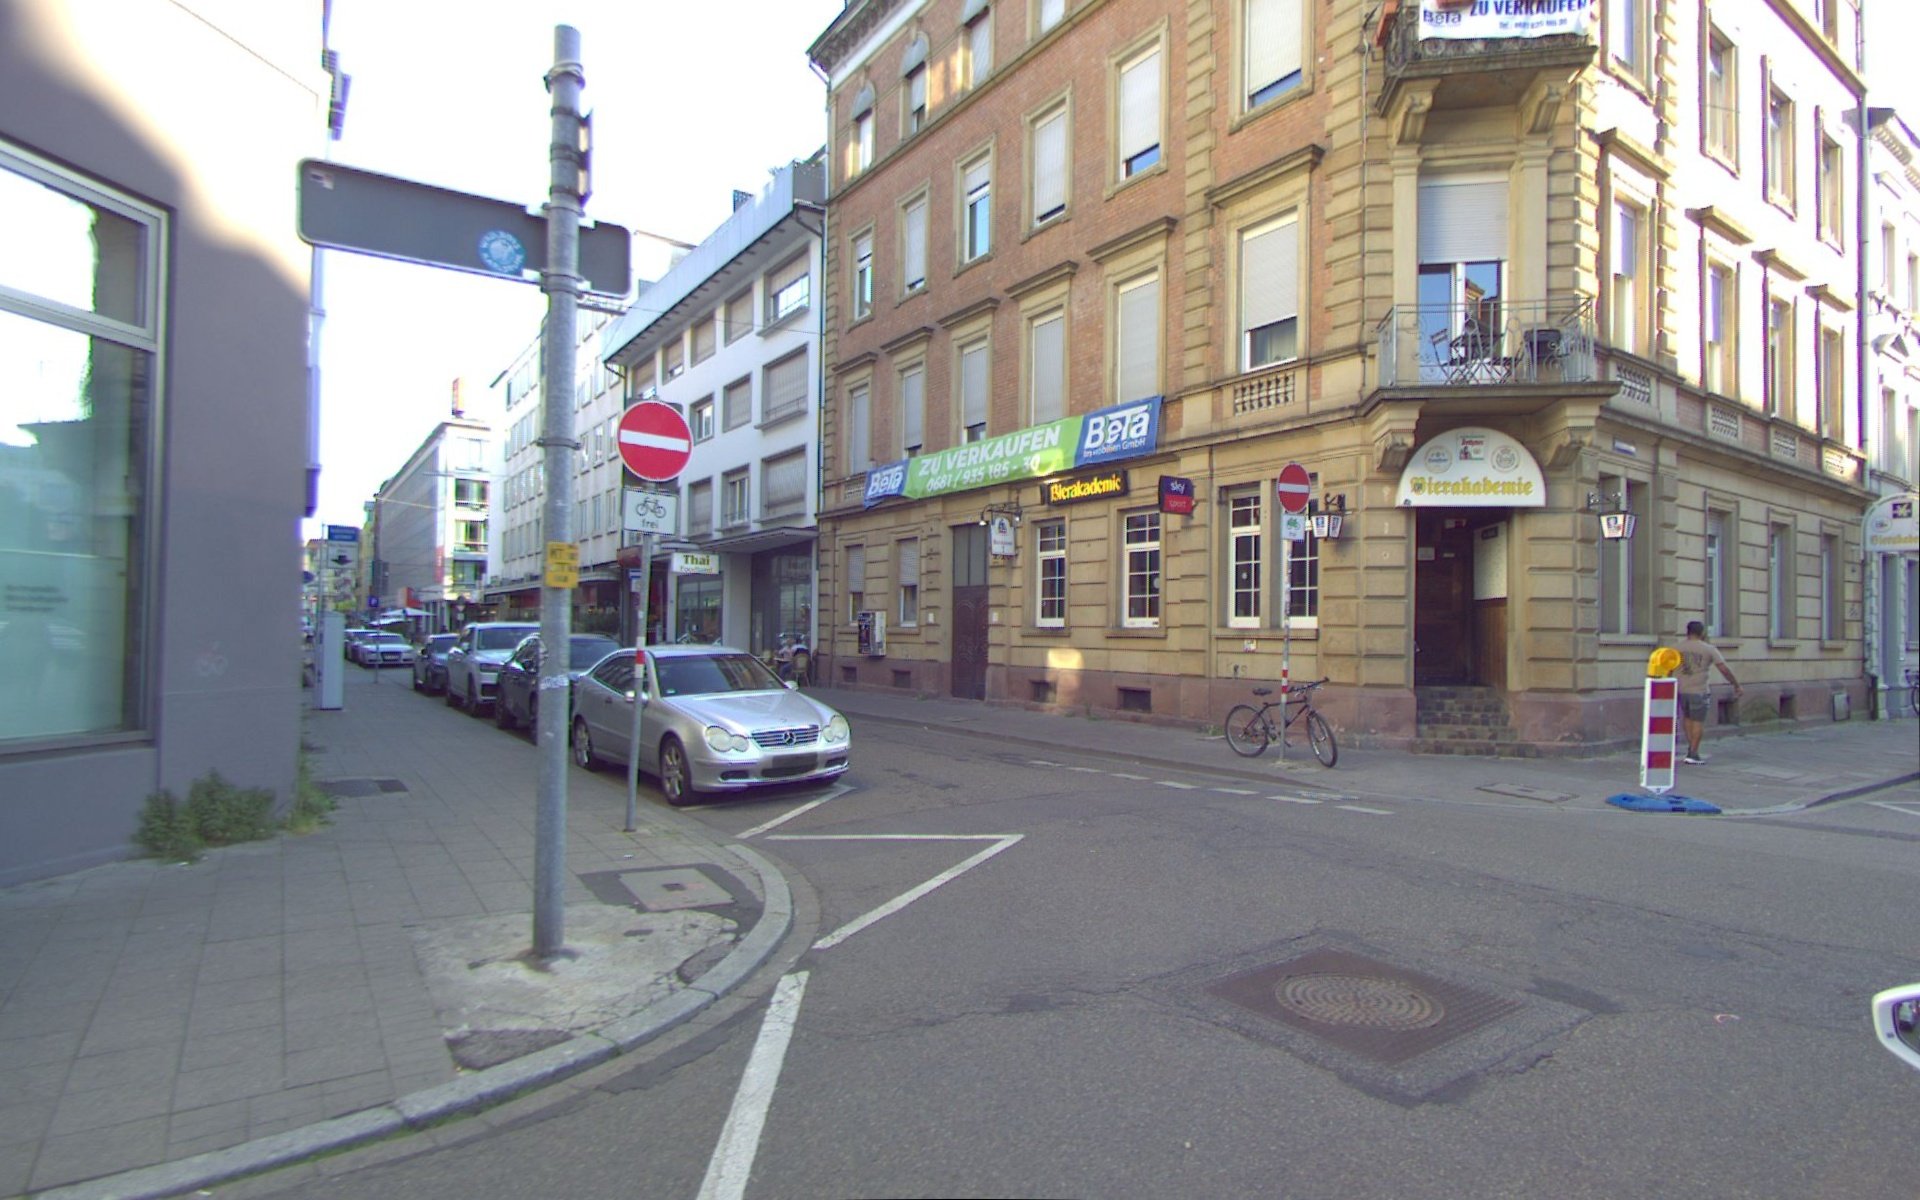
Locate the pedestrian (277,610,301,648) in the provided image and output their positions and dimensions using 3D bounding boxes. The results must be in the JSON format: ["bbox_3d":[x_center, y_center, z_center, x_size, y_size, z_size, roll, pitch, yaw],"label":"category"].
[{"bbox_3d":[-39.533,1.733,59.175,1.024,2.203,0.875,2,-2,-42],"label":"pedestrian"}]

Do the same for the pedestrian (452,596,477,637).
[{"bbox_3d":[-32.378,1.078,65.607,1.236,2.648,1.453,2,-1,-35],"label":"pedestrian"}]

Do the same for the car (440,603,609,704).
[{"bbox_3d":[-8.808,1.014,20.084,2.313,1.767,4.445,2,-2,-34],"label":"car"}]

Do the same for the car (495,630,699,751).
[{"bbox_3d":[-5.658,1.254,15.338,1.994,1.544,4.079,2,-2,-34],"label":"car"}]

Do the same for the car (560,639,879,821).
[{"bbox_3d":[-2.747,1.164,10.635,1.740,1.420,4.443,0,-1,-36],"label":"car"}]

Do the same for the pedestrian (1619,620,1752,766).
[{"bbox_3d":[9.206,1.143,12.776,1.000,1.765,0.981,1,-1,-18],"label":"pedestrian"}]

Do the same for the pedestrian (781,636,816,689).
[{"bbox_3d":[-4.273,1.642,26.520,0.824,1.357,0.803,1,-1,-14],"label":"pedestrian"}]

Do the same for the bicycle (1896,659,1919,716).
[{"bbox_3d":[21.207,1.892,21.881,2.437,1.176,0.732,2,-2,-35],"label":"bicycle"}]

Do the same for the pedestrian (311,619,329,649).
[{"bbox_3d":[-37.833,2.016,59.359,0.706,1.784,0.875,2,-2,-41],"label":"pedestrian"}]

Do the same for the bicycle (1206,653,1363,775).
[{"bbox_3d":[3.922,1.333,12.249,0.655,1.292,1.744,-2,1,-38],"label":"bicycle"}]

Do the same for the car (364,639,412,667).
[{"bbox_3d":[-23.670,2.170,41.522,1.499,1.073,3.435,2,-2,-34],"label":"car"}]

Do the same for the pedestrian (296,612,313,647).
[{"bbox_3d":[-39.297,1.774,60.234,0.721,2.118,0.795,2,-2,-41],"label":"pedestrian"}]
